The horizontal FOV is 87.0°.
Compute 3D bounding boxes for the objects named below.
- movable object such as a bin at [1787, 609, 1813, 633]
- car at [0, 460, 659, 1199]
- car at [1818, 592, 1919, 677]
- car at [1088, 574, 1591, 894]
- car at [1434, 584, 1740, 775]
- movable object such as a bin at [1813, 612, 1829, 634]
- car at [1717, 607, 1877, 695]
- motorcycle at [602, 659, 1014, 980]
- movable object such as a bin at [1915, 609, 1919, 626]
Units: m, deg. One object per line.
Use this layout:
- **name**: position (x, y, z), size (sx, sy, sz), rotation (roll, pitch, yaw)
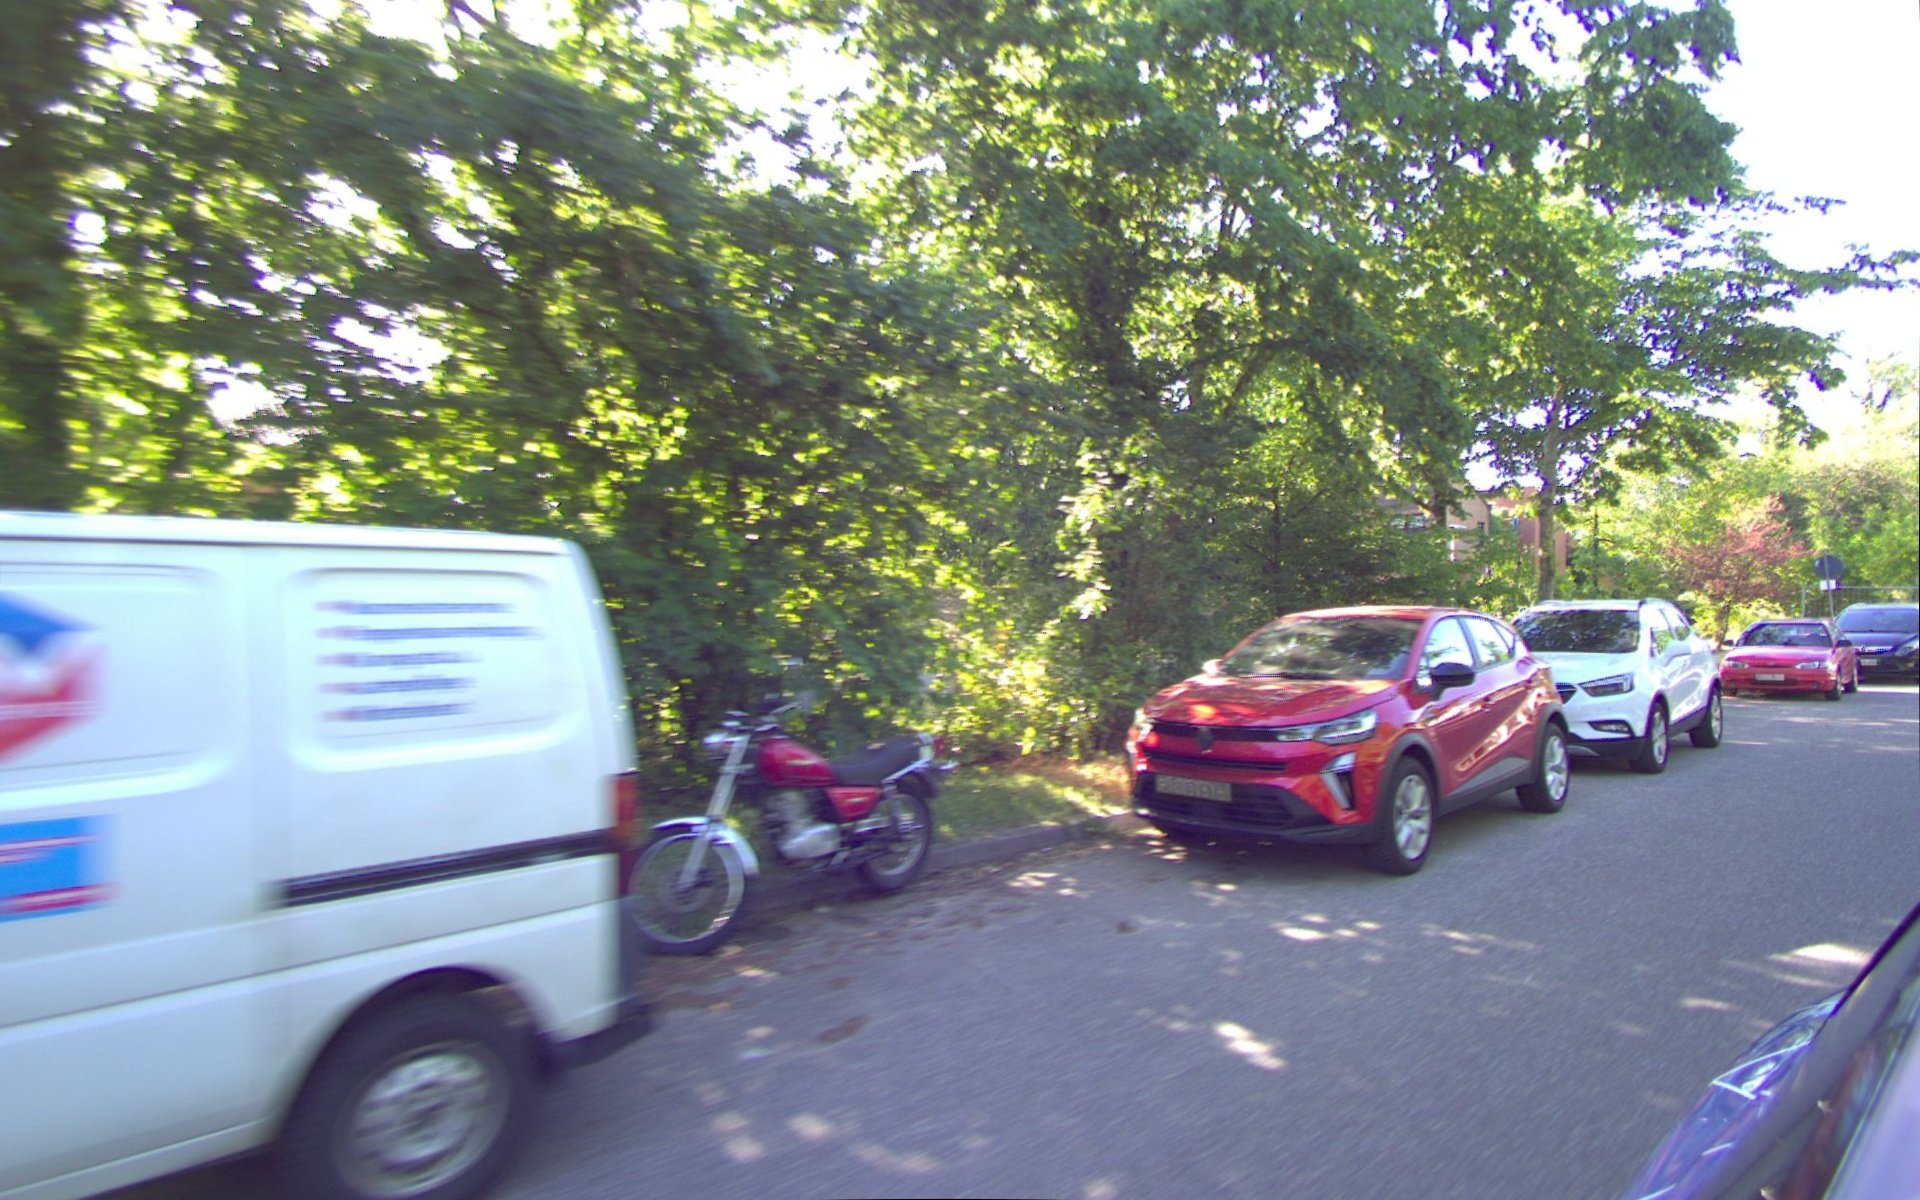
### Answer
- **movable object such as a bin**: position (34.637, 0.870, 41.738), size (0.683, 0.940, 0.695), rotation (0, 1, -41)
- **car**: position (-2.738, 0.645, 2.289), size (3.606, 1.796, 1.625), rotation (0, -2, -42)
- **car**: position (20.129, 0.689, 21.665), size (4.340, 1.672, 1.814), rotation (0, -2, -38)
- **car**: position (2.892, 0.715, 7.250), size (3.996, 1.642, 1.777), rotation (0, -2, -44)
- **car**: position (6.777, 0.712, 10.772), size (3.996, 1.642, 1.777), rotation (0, -2, -44)
- **movable object such as a bin**: position (35.061, 0.945, 41.209), size (0.516, 0.881, 0.419), rotation (0, 1, -41)
- **car**: position (15.264, 0.862, 18.376), size (4.084, 1.393, 1.663), rotation (0, -2, -43)
- **motorcycle**: position (-0.684, 0.956, 5.074), size (2.000, 1.211, 0.648), rotation (0, -1, -41)
- **movable object such as a bin**: position (49.828, 0.928, 52.448), size (0.550, 0.872, 0.484), rotation (0, -1, -45)
